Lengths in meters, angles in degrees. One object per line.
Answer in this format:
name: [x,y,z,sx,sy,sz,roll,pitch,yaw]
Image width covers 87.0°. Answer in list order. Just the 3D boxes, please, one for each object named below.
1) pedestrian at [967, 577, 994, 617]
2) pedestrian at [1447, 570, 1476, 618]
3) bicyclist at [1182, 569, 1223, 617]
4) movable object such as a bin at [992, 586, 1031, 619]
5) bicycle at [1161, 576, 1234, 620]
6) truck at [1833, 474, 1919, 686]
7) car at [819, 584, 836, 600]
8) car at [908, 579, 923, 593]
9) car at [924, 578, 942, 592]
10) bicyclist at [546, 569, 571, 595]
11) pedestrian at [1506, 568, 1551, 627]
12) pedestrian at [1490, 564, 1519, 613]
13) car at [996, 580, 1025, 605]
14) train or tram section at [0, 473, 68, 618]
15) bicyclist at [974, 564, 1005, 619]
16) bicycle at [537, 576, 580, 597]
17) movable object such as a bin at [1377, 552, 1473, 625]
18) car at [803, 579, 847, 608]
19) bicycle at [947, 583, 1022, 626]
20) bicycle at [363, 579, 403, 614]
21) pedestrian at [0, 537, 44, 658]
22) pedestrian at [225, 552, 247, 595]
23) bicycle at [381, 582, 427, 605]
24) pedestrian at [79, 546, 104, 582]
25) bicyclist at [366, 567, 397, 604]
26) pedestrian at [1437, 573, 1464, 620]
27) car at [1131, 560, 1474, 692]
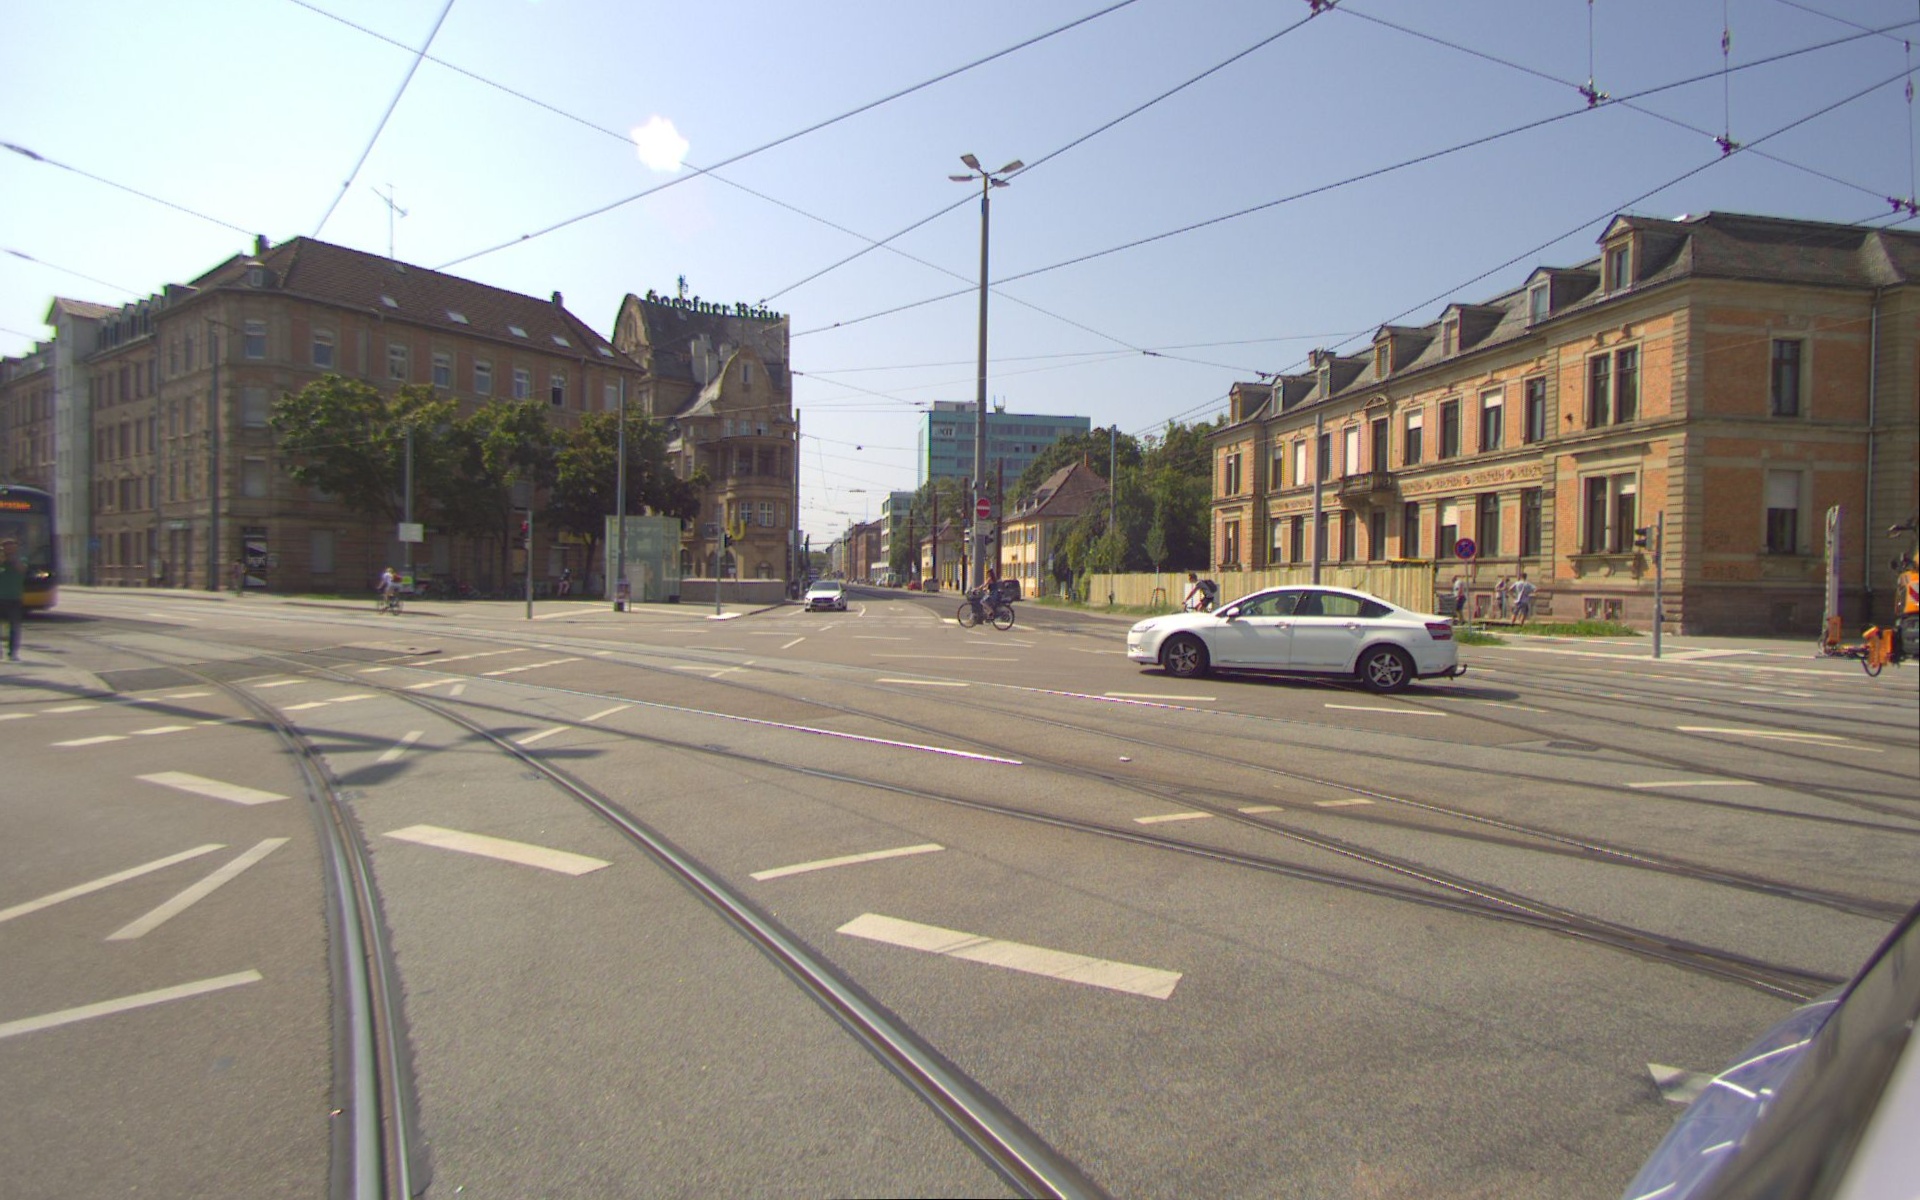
pedestrian: [0.724,-0.109,35.078,0.803,1.368,0.717,1,1,11]
pedestrian: [17.703,-0.212,35.749,0.672,1.693,0.685,0,1,-41]
bicyclist: [6.492,-0.194,27.151,0.848,1.249,1.101,1,1,3]
movable object such as a bin: [1.765,0.093,34.670,1.035,1.099,0.807,0,-1,45]
bicycle: [6.362,-0.061,27.180,1.821,1.125,0.713,0,2,3]
truck: [17.670,-0.277,14.994,7.161,3.270,2.996,0,-1,42]
car: [-12.170,-0.727,92.961,1.346,1.416,3.261,1,-1,-11]
car: [-6.564,-2.121,150.177,1.960,1.928,4.004,1,-1,-6]
car: [-3.527,-1.903,132.810,1.960,1.705,4.004,1,-1,-6]
bicyclist: [-20.564,-0.926,51.813,0.912,1.336,0.743,2,1,26]
pedestrian: [18.068,-0.093,32.176,0.672,1.836,1.038,0,1,-40]
pedestrian: [19.284,-0.404,35.829,0.672,1.693,0.685,0,1,-41]
car: [4.222,-0.611,85.047,1.961,2.039,4.002,1,-1,-3]
train or tram section: [-28.512,-1.511,29.034,12.160,3.605,2.559,2,1,40]
bicyclist: [0.837,-0.239,28.393,0.637,1.500,0.652,1,1,25]
bicycle: [-20.577,-0.697,51.822,2.351,1.011,0.640,2,1,26]
movable object such as a bin: [18.255,-0.471,39.953,1.784,2.705,4.454,1,1,2]
car: [-6.327,-0.323,47.861,1.558,1.304,3.728,1,1,0]
bicycle: [0.688,0.113,28.518,2.108,1.125,0.437,3,2,27]
bicycle: [-19.656,-0.128,34.474,1.629,1.125,0.436,1,1,30]
pedestrian: [-13.835,-0.042,14.613,0.716,1.708,0.792,2,0,42]
pedestrian: [-34.275,-1.248,47.923,0.698,2.039,0.644,1,1,32]
bicycle: [-24.352,-0.289,44.346,0.458,0.970,1.770,1,1,29]
pedestrian: [-49.822,-2.064,58.050,0.802,2.039,0.834,0,-1,27]
bicyclist: [-19.722,-0.495,34.503,0.637,1.269,0.652,1,1,25]
pedestrian: [17.992,-0.121,37.115,0.672,1.693,0.685,0,1,-41]
car: [5.020,0.297,15.039,4.557,1.638,1.756,2,1,26]
